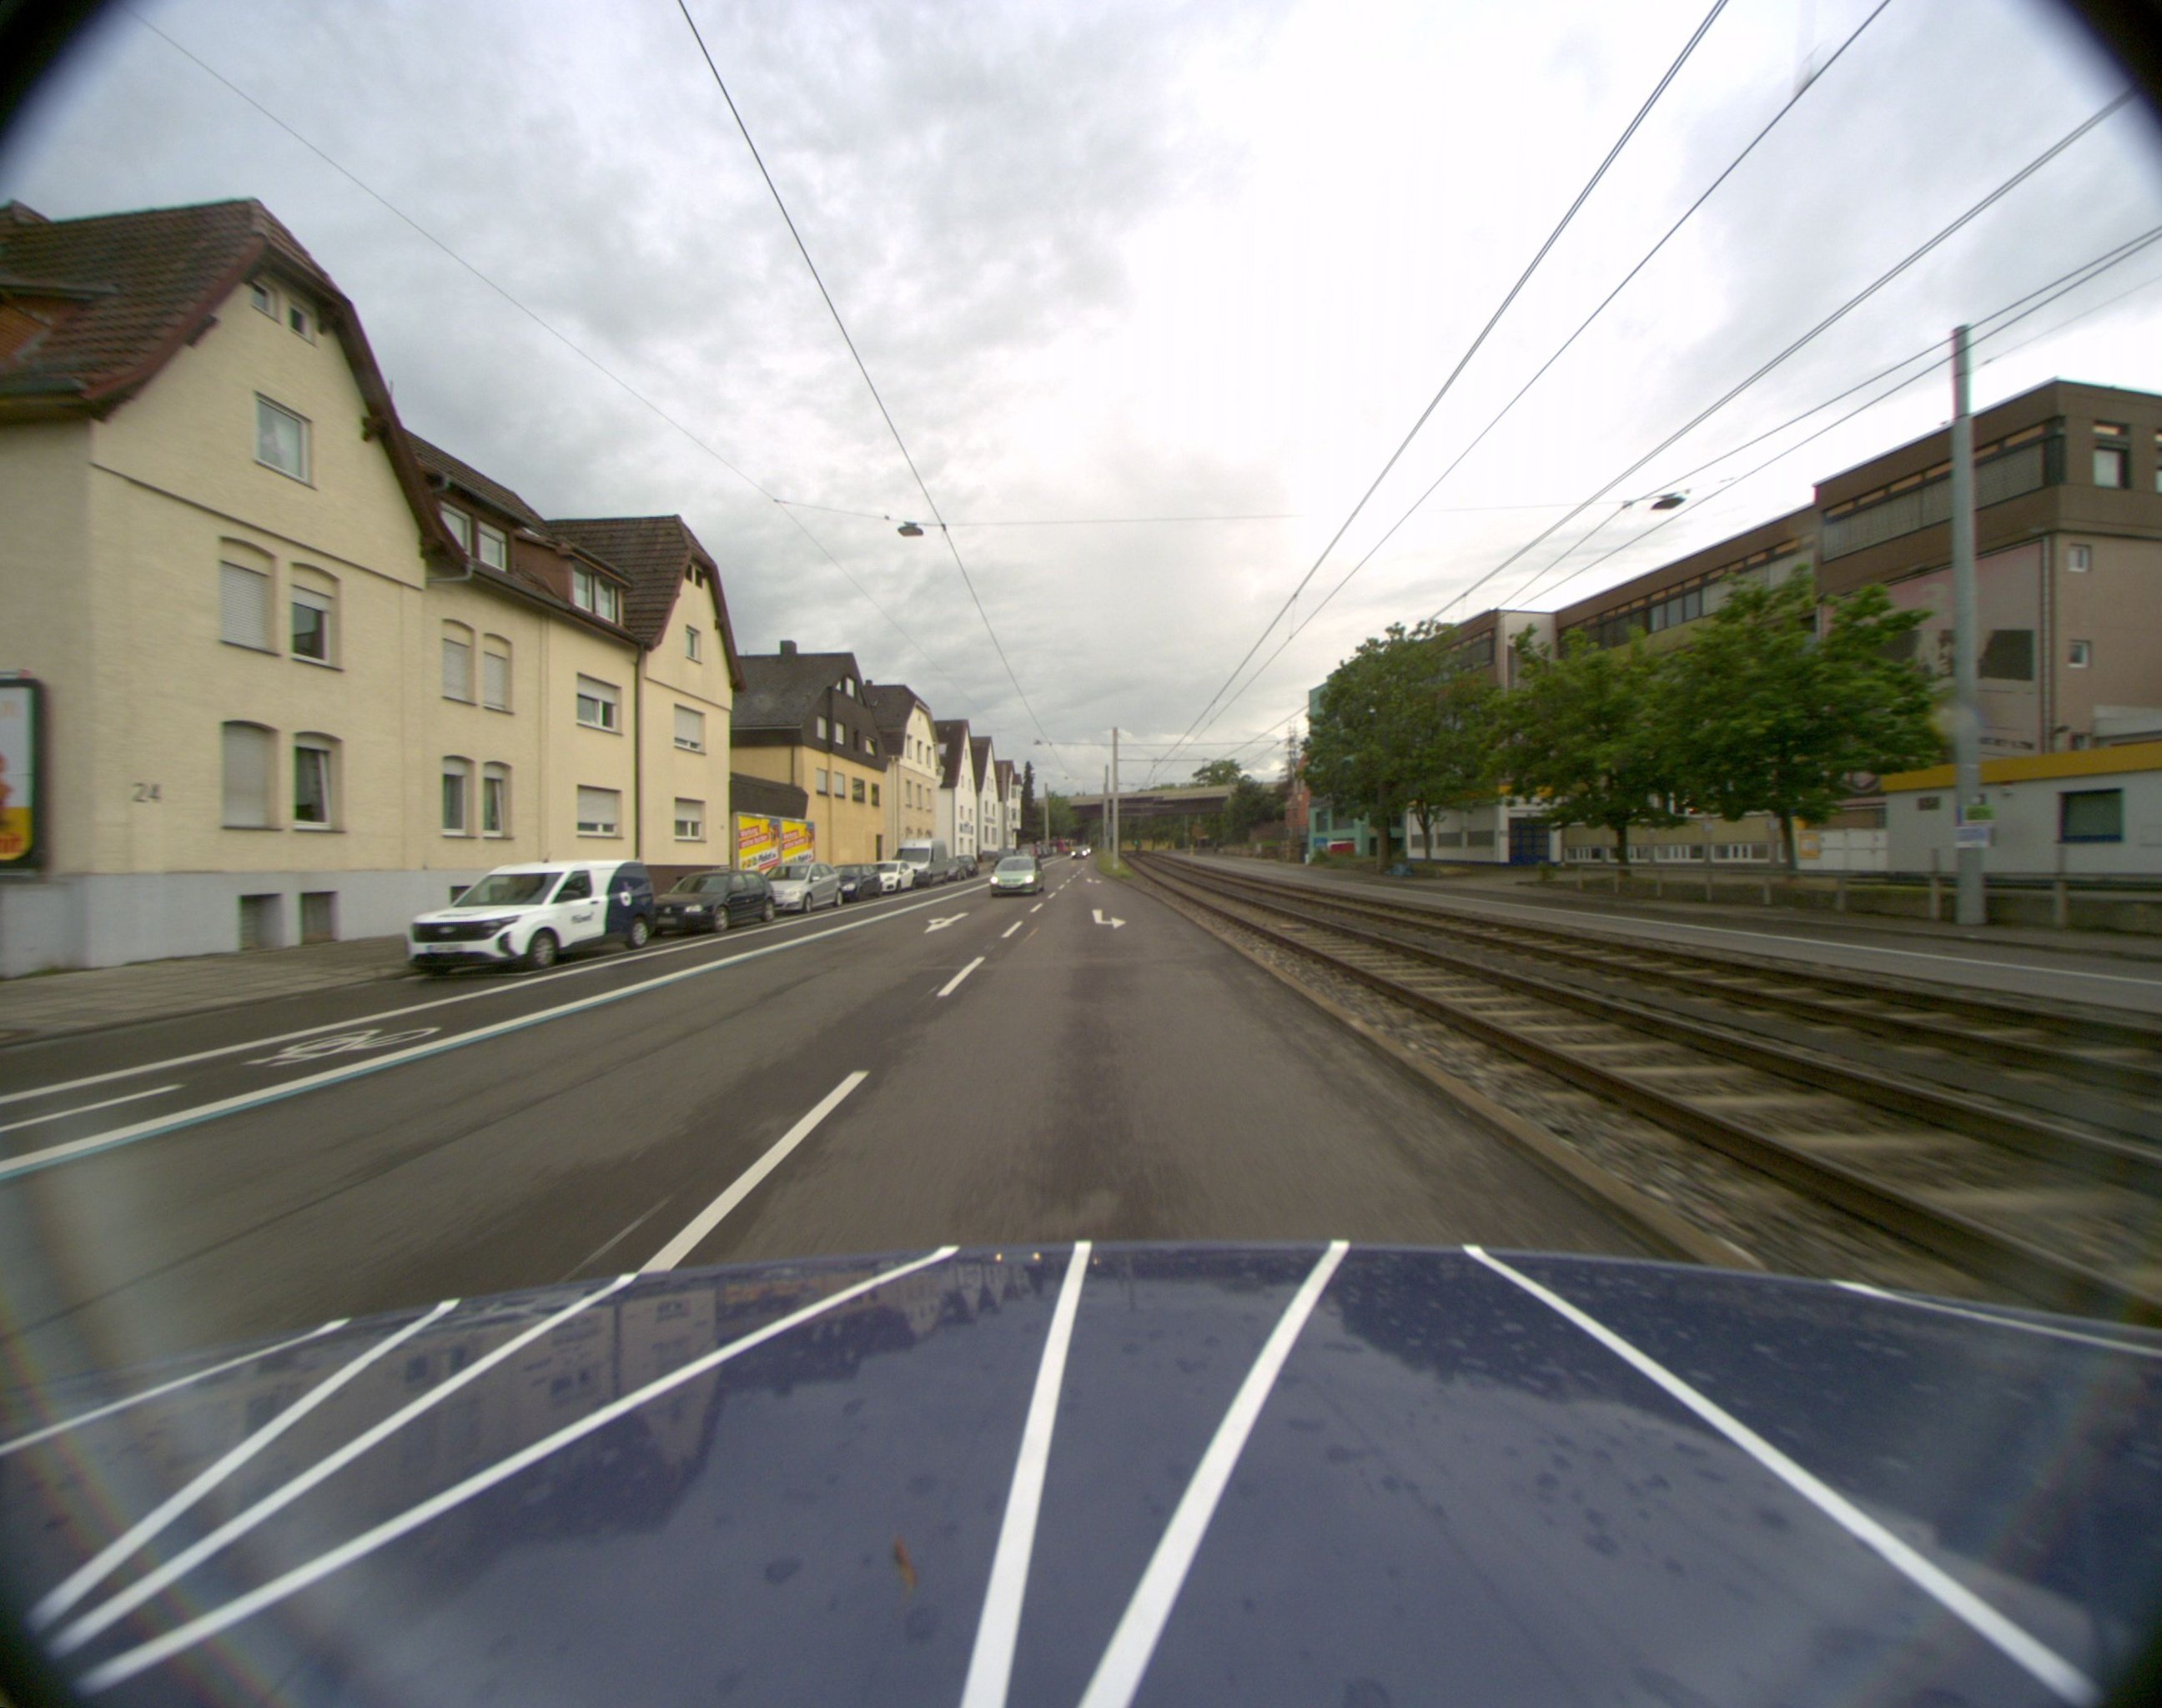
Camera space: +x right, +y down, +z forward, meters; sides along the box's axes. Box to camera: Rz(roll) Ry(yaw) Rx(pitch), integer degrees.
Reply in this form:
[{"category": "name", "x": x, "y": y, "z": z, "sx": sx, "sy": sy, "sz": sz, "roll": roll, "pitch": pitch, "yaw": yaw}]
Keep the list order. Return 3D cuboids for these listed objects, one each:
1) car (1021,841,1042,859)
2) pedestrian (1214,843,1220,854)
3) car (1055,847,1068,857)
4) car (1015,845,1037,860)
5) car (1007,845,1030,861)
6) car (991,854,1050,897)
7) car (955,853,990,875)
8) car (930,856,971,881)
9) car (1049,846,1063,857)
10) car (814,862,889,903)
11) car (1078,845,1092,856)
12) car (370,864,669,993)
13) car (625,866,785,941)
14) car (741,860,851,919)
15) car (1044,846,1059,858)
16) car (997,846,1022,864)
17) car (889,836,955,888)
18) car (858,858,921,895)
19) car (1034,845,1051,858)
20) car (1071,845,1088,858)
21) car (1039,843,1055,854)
[{"category": "car", "x": -5.721, "y": -0.498, "z": 88.207, "sx": 1.977, "sy": 1.984, "sz": 4.434, "roll": -2, "pitch": 1, "yaw": 2}, {"category": "pedestrian", "x": 19.090, "y": -0.762, "z": 106.745, "sx": 0.747, "sy": 1.635, "sz": 1.021, "roll": 0, "pitch": 1, "yaw": 2}, {"category": "car", "x": -3.188, "y": -0.424, "z": 125.952, "sx": 1.726, "sy": 1.539, "sz": 4.201, "roll": -2, "pitch": 1, "yaw": 3}, {"category": "car", "x": -5.959, "y": -0.213, "z": 82.524, "sx": 1.726, "sy": 1.539, "sz": 4.201, "roll": -2, "pitch": 1, "yaw": 3}, {"category": "car", "x": -6.335, "y": -0.102, "z": 77.103, "sx": 1.726, "sy": 1.539, "sz": 4.201, "roll": -2, "pitch": 1, "yaw": 3}, {"category": "car", "x": -2.294, "y": 0.804, "z": 29.871, "sx": 1.888, "sy": 1.440, "sz": 4.200, "roll": -2, "pitch": 1, "yaw": 0}, {"category": "car", "x": -7.539, "y": 0.650, "z": 53.171, "sx": 1.726, "sy": 1.338, "sz": 4.200, "roll": -2, "pitch": 1, "yaw": 0}, {"category": "car", "x": -8.015, "y": 0.840, "z": 47.036, "sx": 1.726, "sy": 1.338, "sz": 4.084, "roll": -2, "pitch": 1, "yaw": 0}, {"category": "car", "x": -3.747, "y": -0.437, "z": 115.792, "sx": 1.726, "sy": 1.539, "sz": 4.201, "roll": -2, "pitch": 1, "yaw": 3}, {"category": "car", "x": -8.885, "y": 1.080, "z": 29.744, "sx": 1.605, "sy": 1.393, "sz": 3.792, "roll": -2, "pitch": 0, "yaw": 2}, {"category": "car", "x": 0.623, "y": -0.485, "z": 108.521, "sx": 1.888, "sy": 1.416, "sz": 4.200, "roll": -2, "pitch": 1, "yaw": 0}, {"category": "car", "x": -9.375, "y": 1.106, "z": 13.296, "sx": 1.852, "sy": 1.746, "sz": 4.521, "roll": -2, "pitch": 0, "yaw": -1}, {"category": "car", "x": -9.020, "y": 1.120, "z": 18.681, "sx": 1.690, "sy": 1.503, "sz": 4.137, "roll": -2, "pitch": 0, "yaw": 2}, {"category": "car", "x": -8.932, "y": 1.048, "z": 24.229, "sx": 1.705, "sy": 1.557, "sz": 4.282, "roll": -2, "pitch": 1, "yaw": 2}, {"category": "car", "x": -4.317, "y": -0.303, "z": 110.024, "sx": 1.726, "sy": 1.539, "sz": 4.201, "roll": -2, "pitch": 1, "yaw": 3}, {"category": "car", "x": -6.706, "y": 0.074, "z": 71.702, "sx": 1.726, "sy": 1.539, "sz": 4.201, "roll": -2, "pitch": 1, "yaw": 3}, {"category": "car", "x": -8.325, "y": 0.353, "z": 40.358, "sx": 2.045, "sy": 2.484, "sz": 5.920, "roll": -2, "pitch": 1, "yaw": 1}, {"category": "car", "x": -8.607, "y": 0.990, "z": 34.481, "sx": 1.605, "sy": 1.456, "sz": 4.201, "roll": -2, "pitch": 0, "yaw": 2}, {"category": "car", "x": -5.007, "y": -0.307, "z": 99.782, "sx": 1.726, "sy": 1.539, "sz": 4.201, "roll": -2, "pitch": 1, "yaw": 3}, {"category": "car", "x": -0.131, "y": -0.313, "z": 89.736, "sx": 1.888, "sy": 1.416, "sz": 4.200, "roll": -2, "pitch": 1, "yaw": 0}, {"category": "car", "x": -4.696, "y": -0.769, "z": 104.292, "sx": 1.726, "sy": 1.539, "sz": 4.201, "roll": -2, "pitch": 1, "yaw": 3}]
